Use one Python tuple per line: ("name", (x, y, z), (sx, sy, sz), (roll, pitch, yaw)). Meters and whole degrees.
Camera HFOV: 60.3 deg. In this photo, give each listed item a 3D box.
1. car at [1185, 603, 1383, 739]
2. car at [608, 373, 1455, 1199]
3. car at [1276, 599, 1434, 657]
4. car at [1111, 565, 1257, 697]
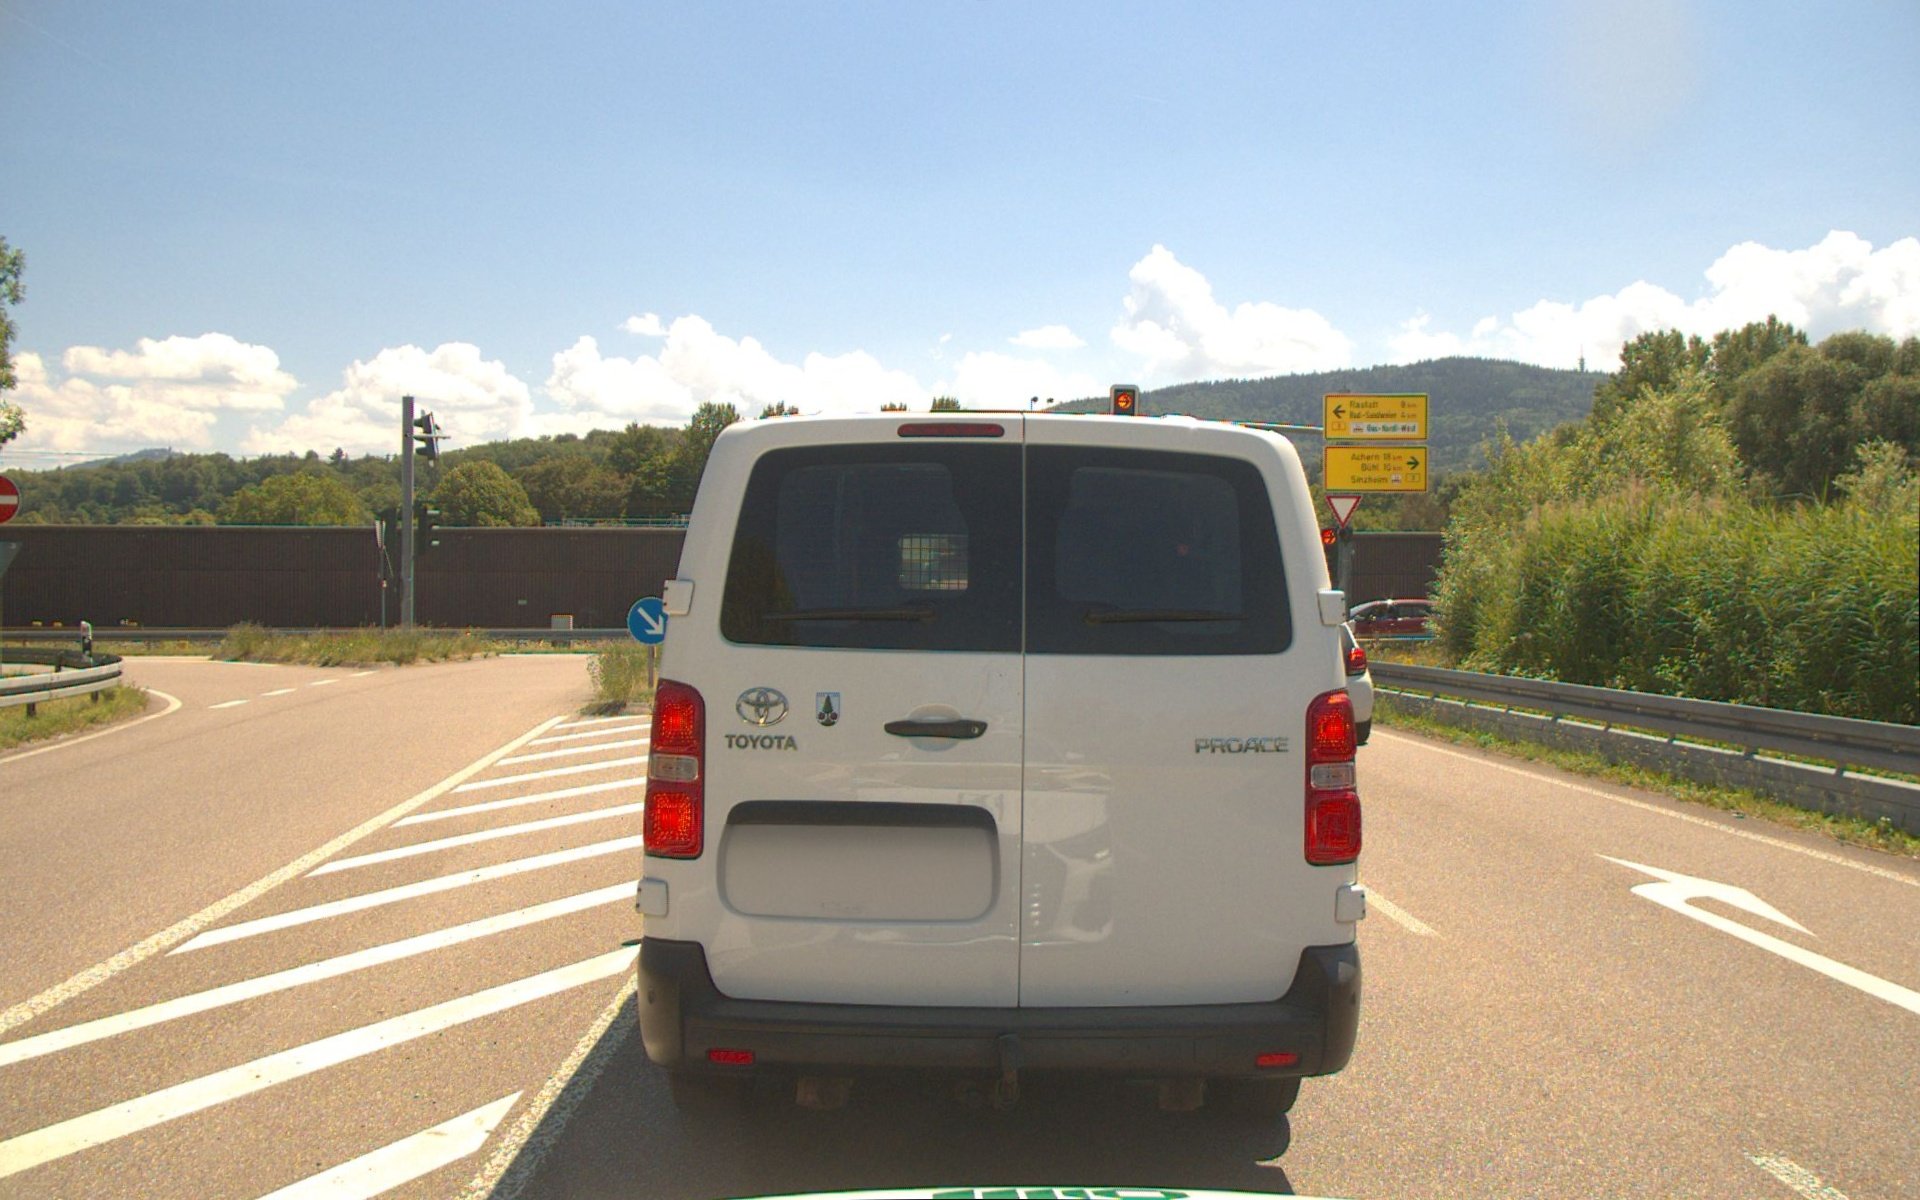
("car", (3.756, 0.775, 19.680), (1.622, 1.456, 3.364), (1, 0, -1))
("car", (0.121, 0.482, 5.646), (1.848, 1.919, 3.999), (1, 0, -1))
("car", (11.898, 0.838, 49.986), (4.225, 1.685, 1.998), (0, 0, -4))
("car", (3.720, 0.498, 28.243), (1.889, 2.035, 4.838), (1, 0, 1))
